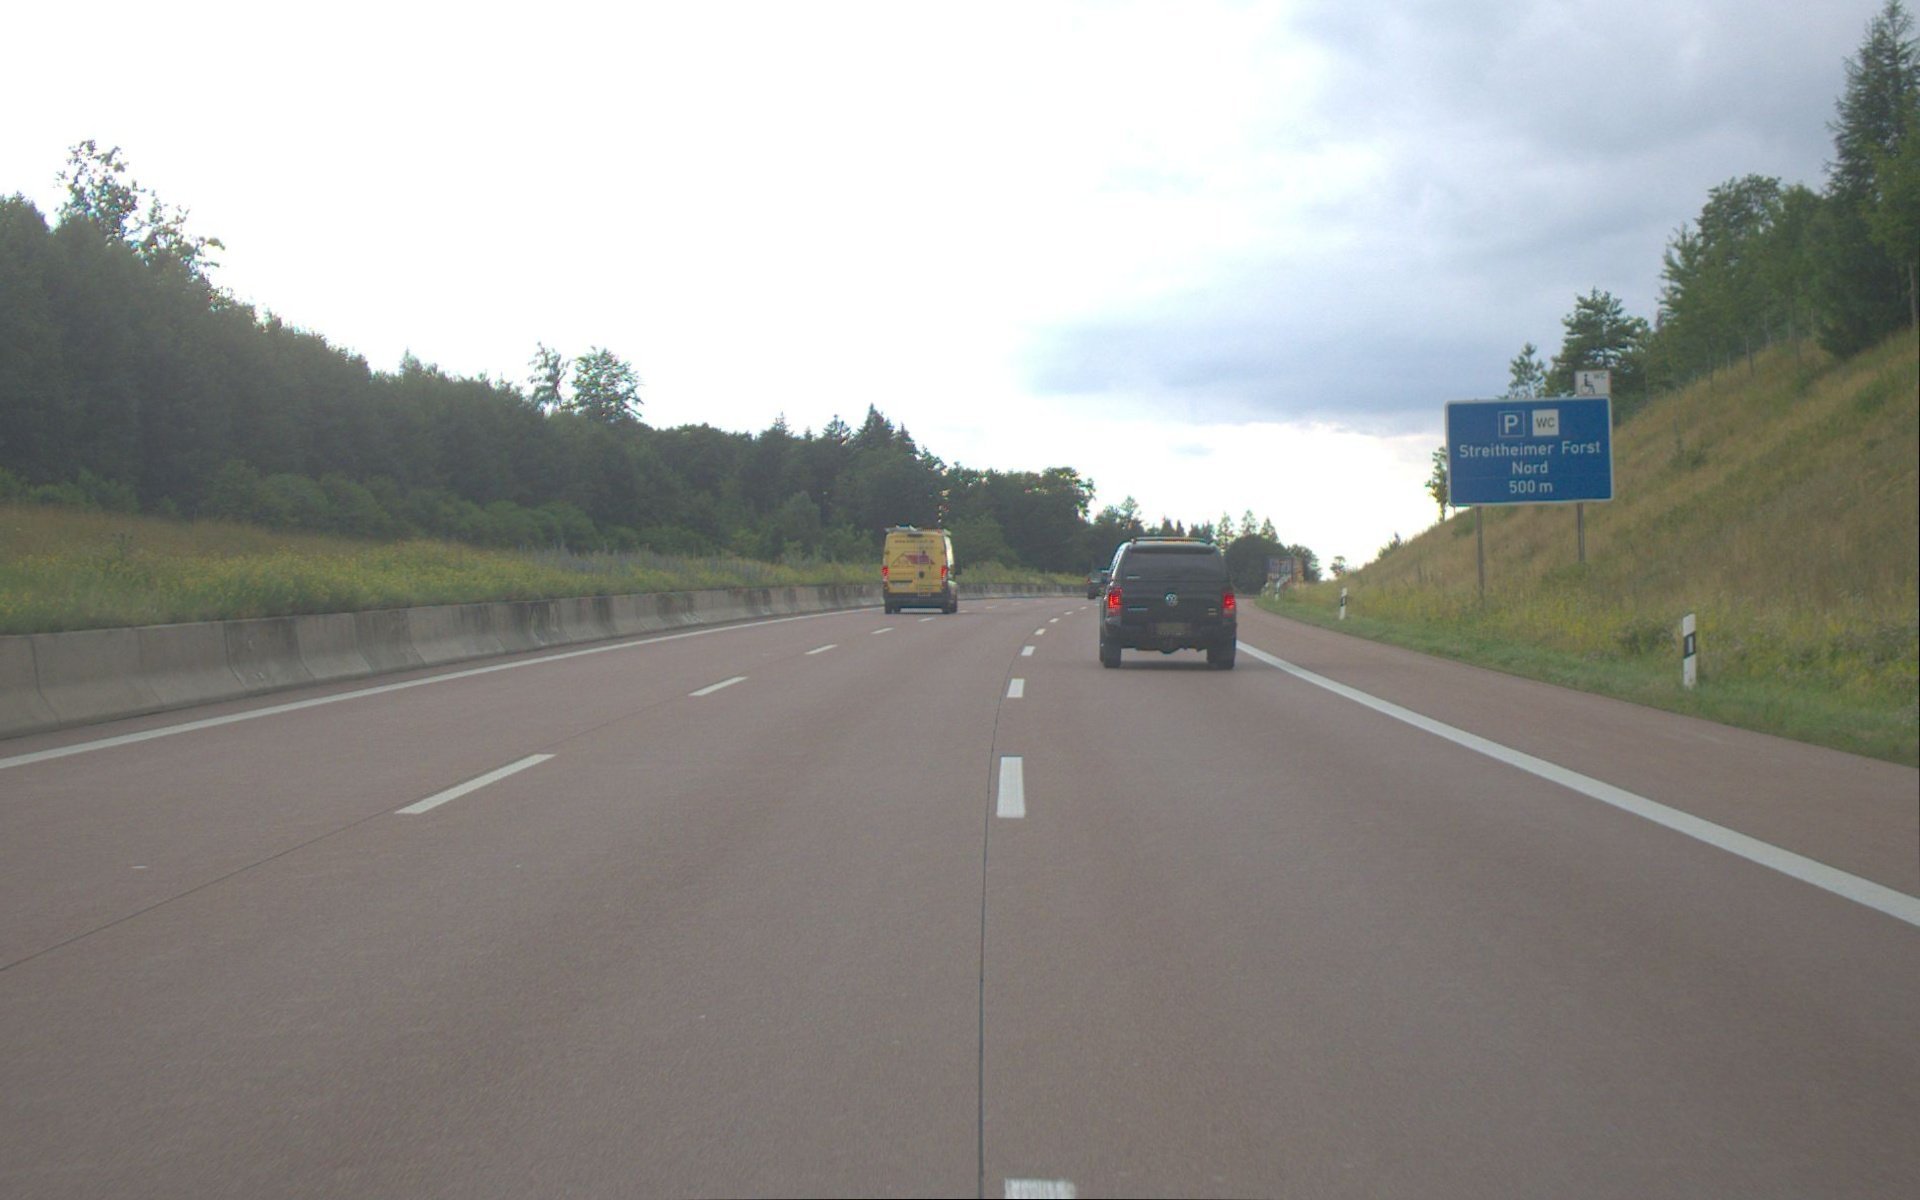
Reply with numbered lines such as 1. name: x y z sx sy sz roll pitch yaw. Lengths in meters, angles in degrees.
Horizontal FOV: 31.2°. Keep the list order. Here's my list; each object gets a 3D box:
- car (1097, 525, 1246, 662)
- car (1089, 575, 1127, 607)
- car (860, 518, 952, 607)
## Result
1. car: 3.104 -0.073 50.299 2.044 1.890 5.576 0 0 4
2. car: 8.386 -0.499 194.801 1.888 1.758 4.996 0 0 6
3. car: -1.658 -1.132 108.504 2.459 2.697 5.612 0 0 4
